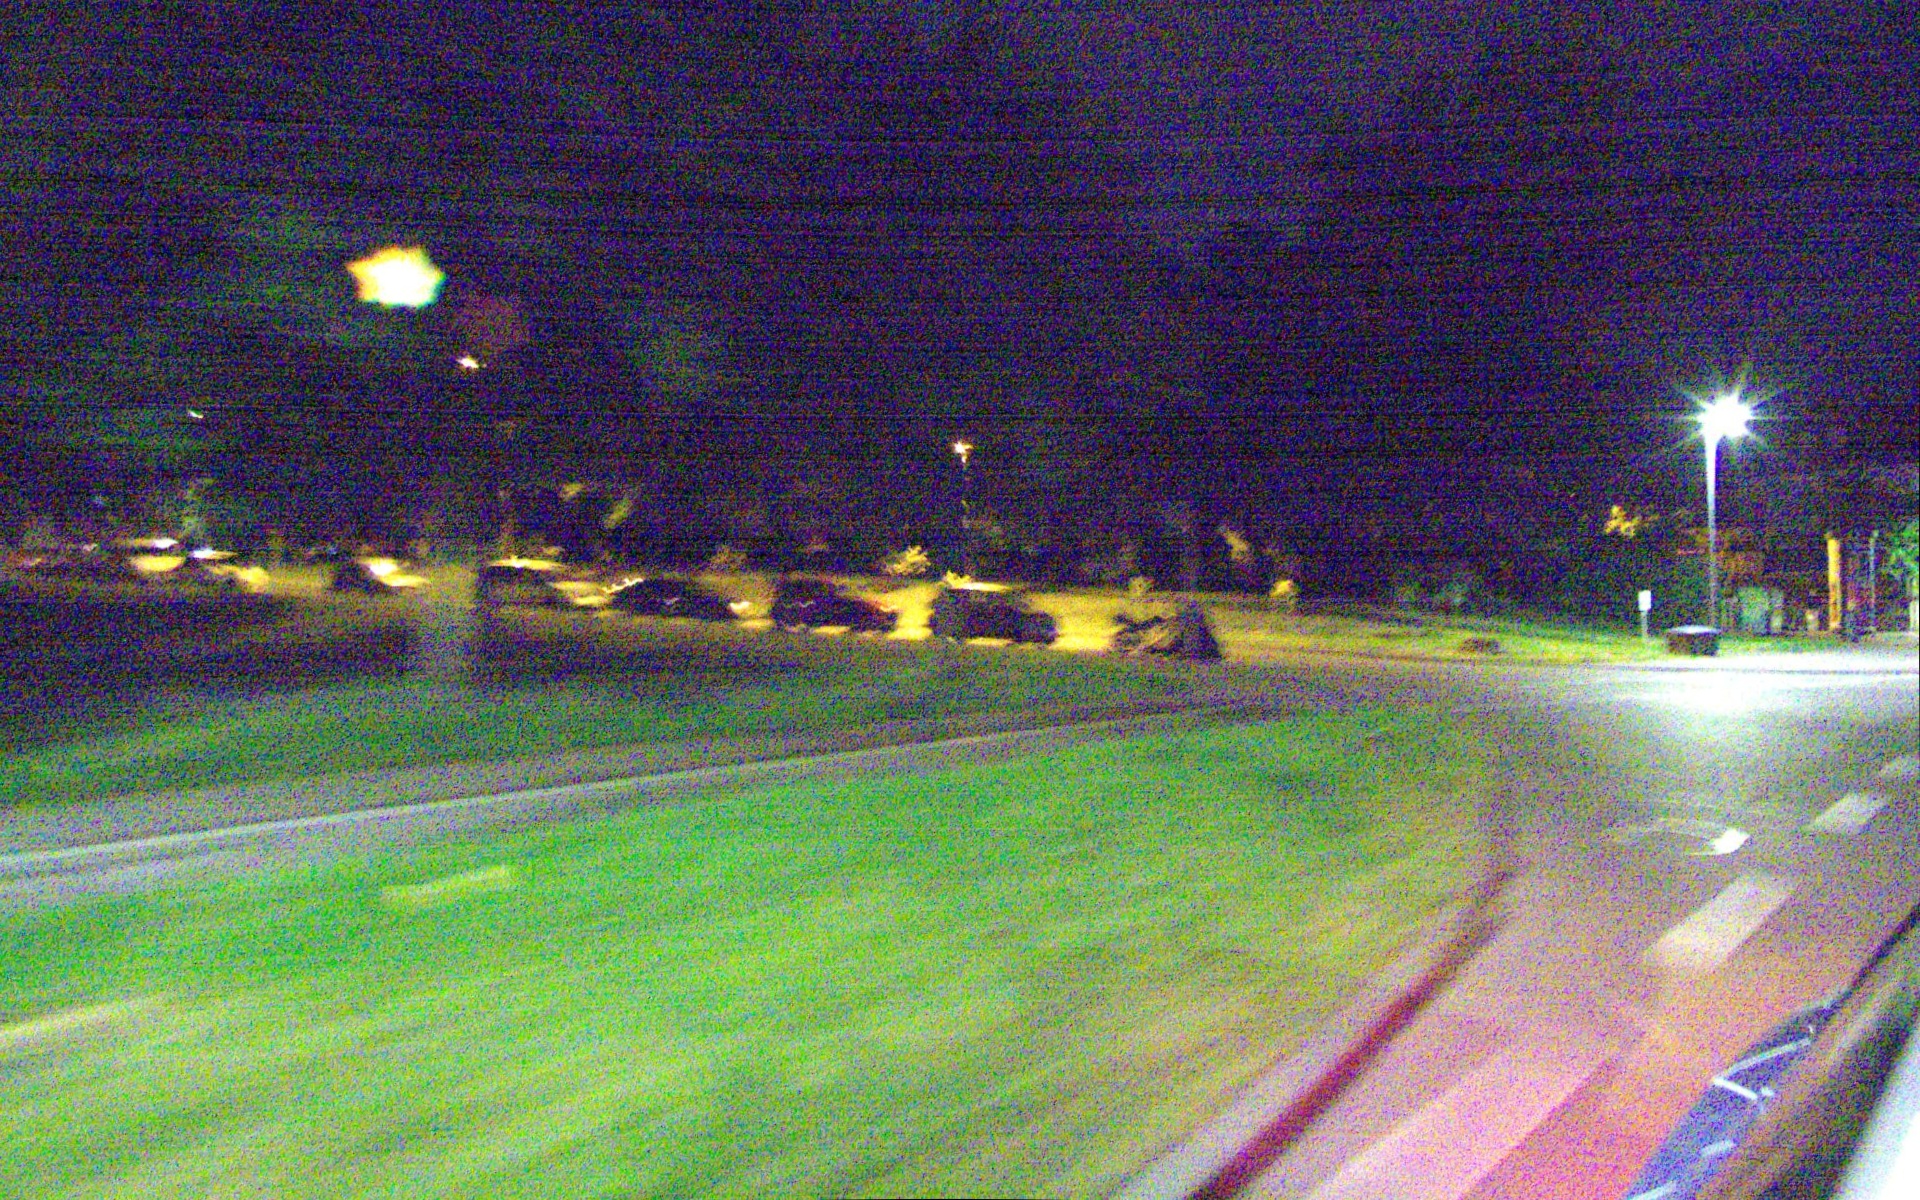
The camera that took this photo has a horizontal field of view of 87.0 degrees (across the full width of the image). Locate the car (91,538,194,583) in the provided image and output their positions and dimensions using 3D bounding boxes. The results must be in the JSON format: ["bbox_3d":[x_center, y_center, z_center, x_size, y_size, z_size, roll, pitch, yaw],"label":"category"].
[{"bbox_3d":[-32.654,-1.590,40.395,4.378,1.691,1.819,2,1,31],"label":"car"}]

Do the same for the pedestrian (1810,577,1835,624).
[{"bbox_3d":[37.129,0.014,43.551,0.759,1.961,0.647,0,1,-40],"label":"pedestrian"}]

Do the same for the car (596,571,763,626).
[{"bbox_3d":[-8.349,-0.078,30.087,4.652,1.493,1.751,1,1,20],"label":"car"}]

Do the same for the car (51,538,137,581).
[{"bbox_3d":[-36.444,-1.706,42.551,4.064,1.691,1.558,2,1,31],"label":"car"}]

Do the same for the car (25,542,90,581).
[{"bbox_3d":[-41.253,-1.742,46.246,3.449,1.691,1.444,2,1,35],"label":"car"}]

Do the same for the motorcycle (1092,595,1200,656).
[{"bbox_3d":[4.072,0.537,22.263,2.251,1.229,0.702,2,1,35],"label":"motorcycle"}]

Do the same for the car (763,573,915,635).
[{"bbox_3d":[-3.364,0.076,27.878,3.997,1.567,1.596,2,1,29],"label":"car"}]

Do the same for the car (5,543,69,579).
[{"bbox_3d":[-45.099,-1.924,49.440,2.896,1.691,1.388,2,1,27],"label":"car"}]

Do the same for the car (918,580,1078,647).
[{"bbox_3d":[0.929,0.291,25.456,3.607,1.498,1.841,2,1,35],"label":"car"}]

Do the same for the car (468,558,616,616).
[{"bbox_3d":[-13.183,-0.422,31.920,4.275,1.691,1.751,1,1,20],"label":"car"}]

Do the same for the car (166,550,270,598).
[{"bbox_3d":[-27.681,-0.967,37.759,3.392,1.691,1.655,2,1,24],"label":"car"}]

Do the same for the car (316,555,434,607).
[{"bbox_3d":[-19.967,-0.666,34.574,3.498,1.691,1.657,1,1,21],"label":"car"}]
